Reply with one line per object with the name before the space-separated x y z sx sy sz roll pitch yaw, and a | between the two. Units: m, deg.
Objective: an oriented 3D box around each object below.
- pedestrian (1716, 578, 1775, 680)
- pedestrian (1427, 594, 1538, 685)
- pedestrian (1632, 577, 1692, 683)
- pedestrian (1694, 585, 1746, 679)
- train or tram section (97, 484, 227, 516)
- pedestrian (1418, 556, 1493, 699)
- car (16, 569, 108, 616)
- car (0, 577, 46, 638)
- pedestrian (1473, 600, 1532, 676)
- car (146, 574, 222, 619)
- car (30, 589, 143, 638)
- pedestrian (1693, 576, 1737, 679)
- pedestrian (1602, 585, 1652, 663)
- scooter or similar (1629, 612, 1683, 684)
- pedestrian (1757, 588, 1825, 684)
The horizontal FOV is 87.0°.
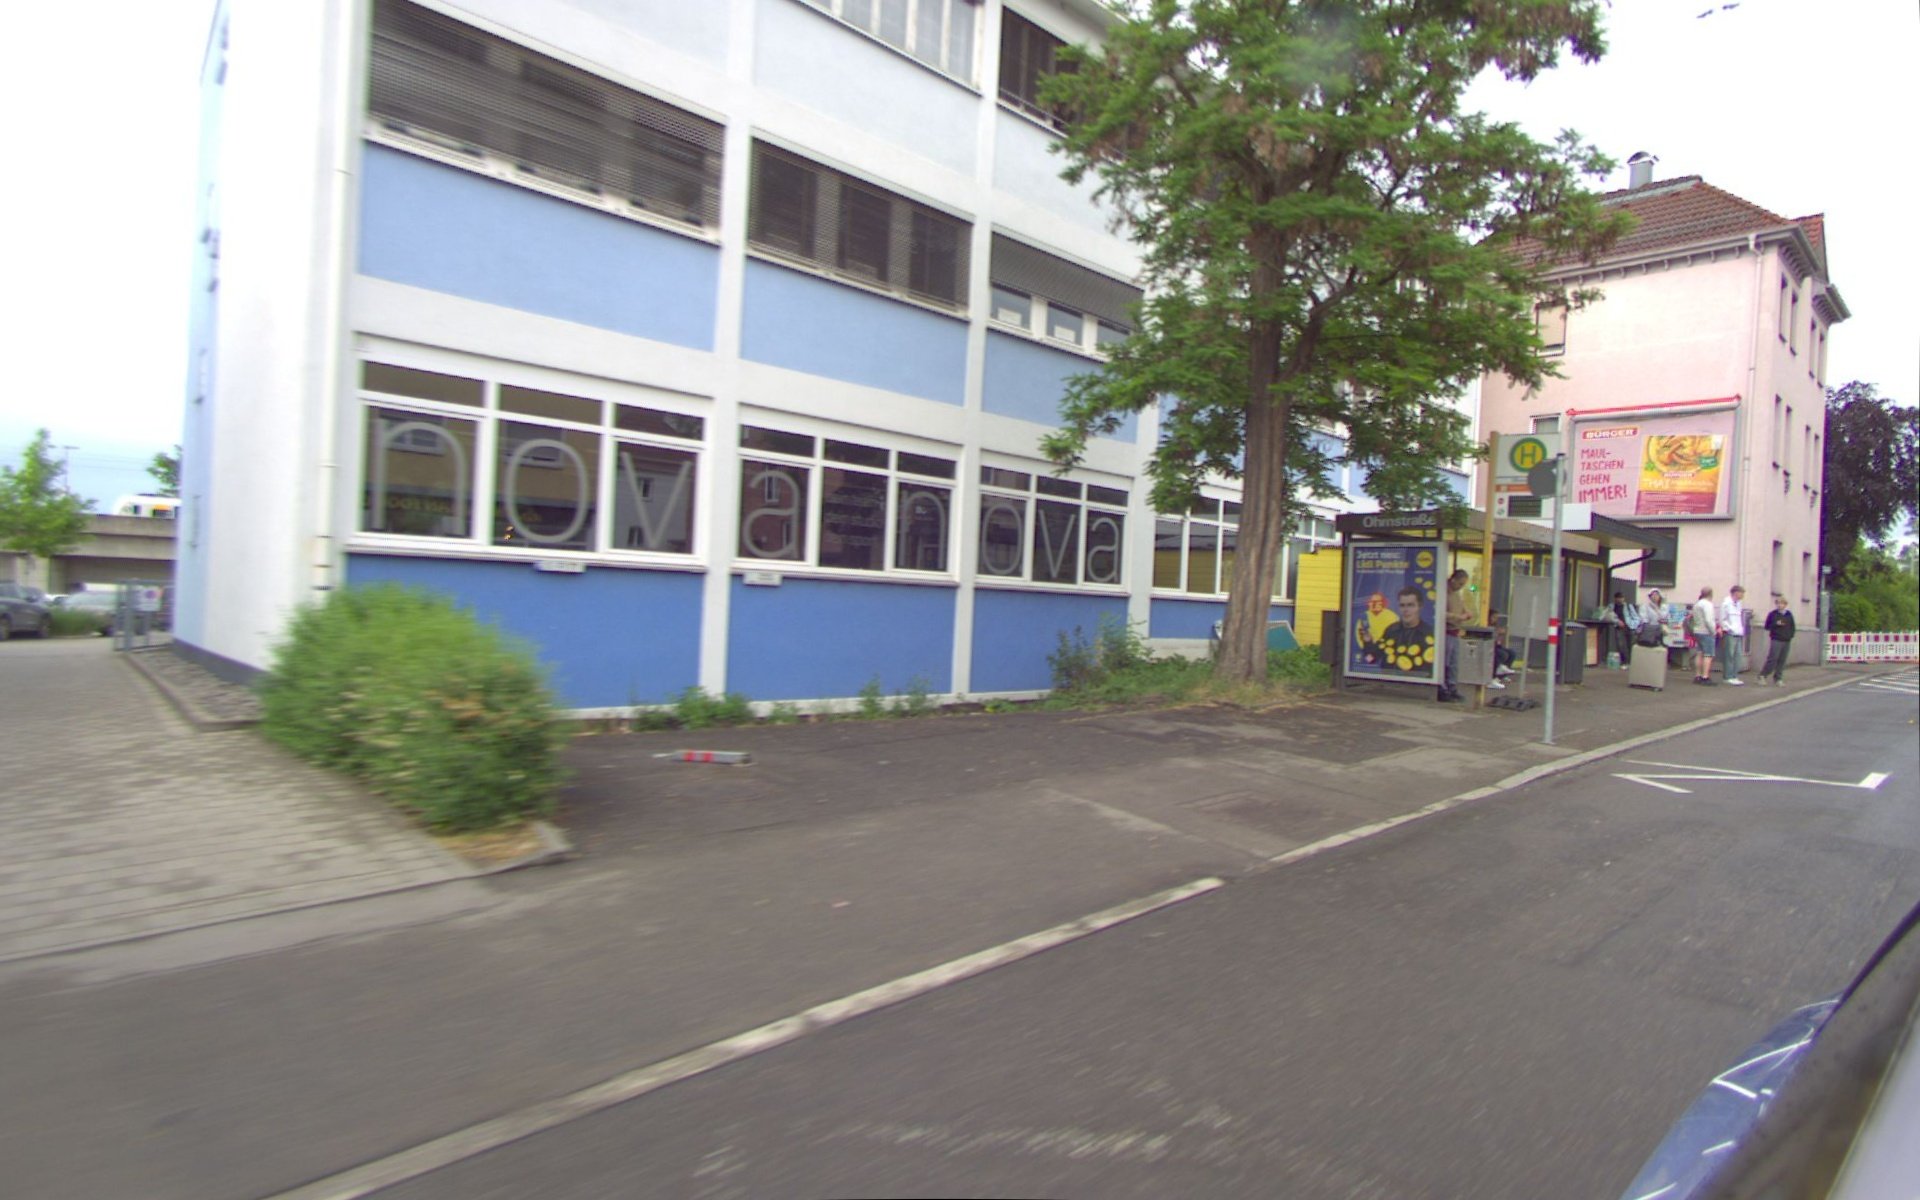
pedestrian | 15.137 0.548 19.505 0.619 1.897 0.489 3 2 -14
pedestrian | 8.169 0.596 15.846 1.356 1.289 0.730 4 2 44
pedestrian | 12.202 0.507 17.580 0.660 1.763 0.816 4 2 43
pedestrian | 14.522 0.609 19.346 0.545 1.728 0.449 3 2 -20
train or tram section | -62.713 -7.840 79.753 7.784 2.039 2.004 1 1 -23
pedestrian | 6.704 0.349 13.695 0.647 1.854 0.730 4 2 43
car | -36.273 -0.249 41.006 1.874 1.776 3.880 1 -1 -28
car | -26.439 0.226 27.186 1.874 1.565 3.880 0 -1 -28
pedestrian | 9.137 0.627 17.033 0.660 1.213 0.730 4 2 43
car | -32.701 -0.105 42.753 1.874 1.776 3.880 1 -1 -28
car | -27.967 0.447 32.532 1.874 1.452 3.880 0 -1 -28
pedestrian | 14.003 0.499 18.773 0.459 1.863 0.595 6 3 43
pedestrian | 14.593 0.511 22.166 0.667 1.645 0.621 4 3 20
scooter or similar | 11.752 0.797 17.085 0.618 1.154 0.559 4 2 43
pedestrian | 15.901 0.673 19.388 0.627 1.730 0.746 4 2 15
